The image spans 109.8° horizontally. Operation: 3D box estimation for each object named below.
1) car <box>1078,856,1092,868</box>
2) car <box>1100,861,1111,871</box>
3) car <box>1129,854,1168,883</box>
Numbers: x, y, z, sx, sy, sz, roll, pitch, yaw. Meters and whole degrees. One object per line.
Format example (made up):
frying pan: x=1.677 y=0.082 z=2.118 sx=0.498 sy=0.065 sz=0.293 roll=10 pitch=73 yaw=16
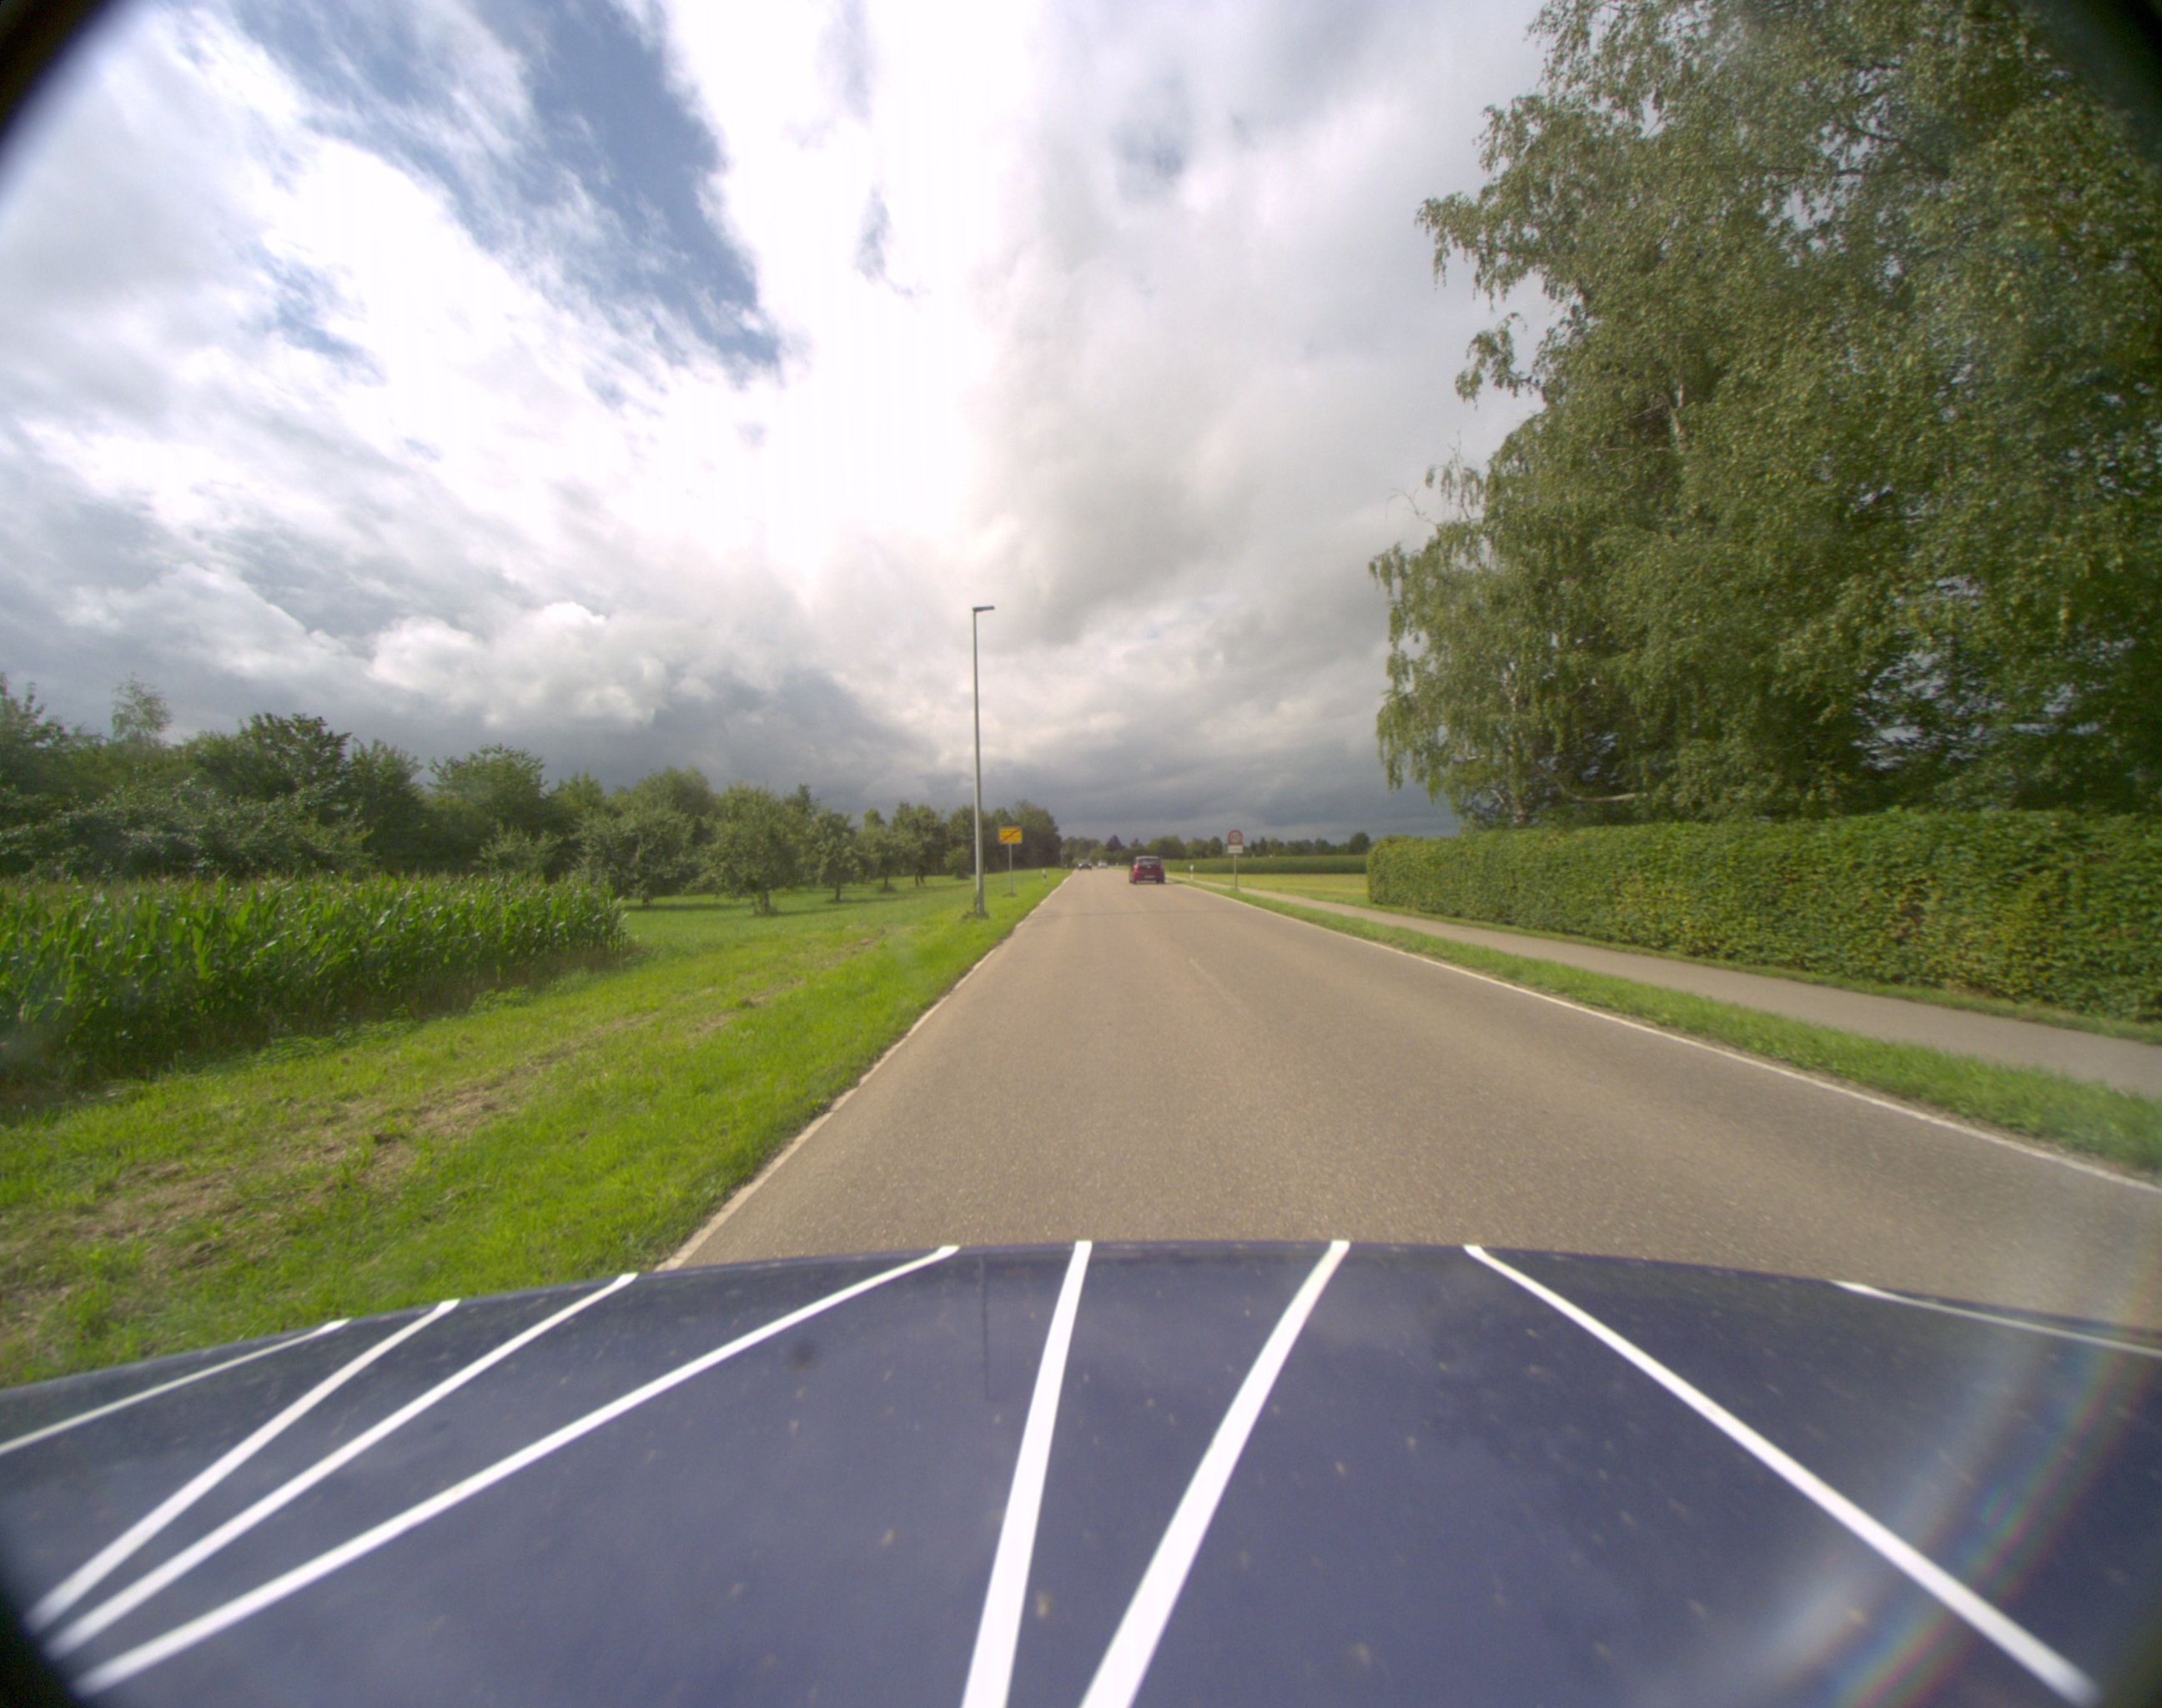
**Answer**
car: x=0.610 y=1.184 z=114.269 sx=1.998 sy=1.594 sz=4.000 roll=-2 pitch=0 yaw=1
car: x=4.542 y=2.228 z=141.948 sx=2.087 sy=1.716 sz=4.560 roll=0 pitch=0 yaw=1
car: x=3.579 y=0.750 z=40.807 sx=1.745 sy=1.462 sz=4.000 roll=0 pitch=0 yaw=0
